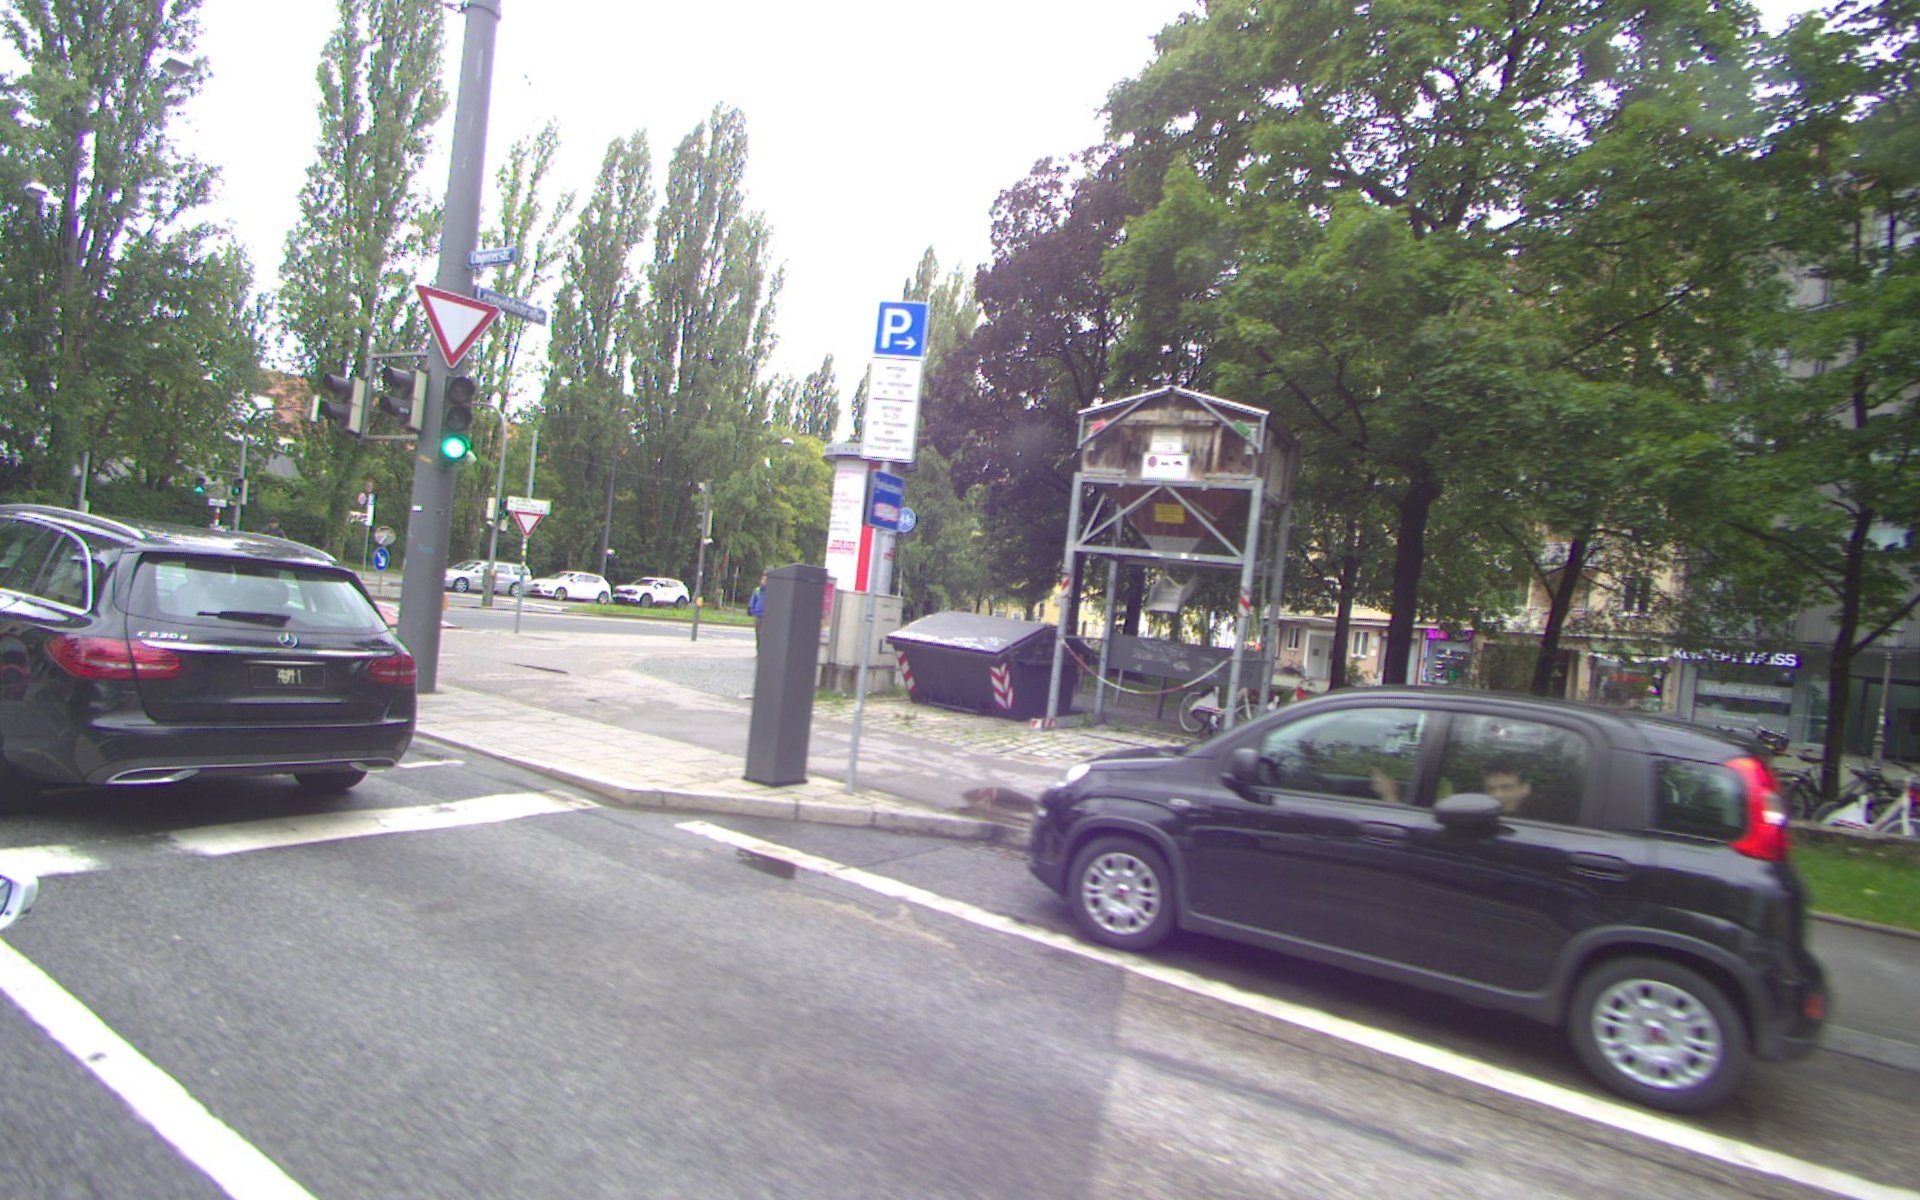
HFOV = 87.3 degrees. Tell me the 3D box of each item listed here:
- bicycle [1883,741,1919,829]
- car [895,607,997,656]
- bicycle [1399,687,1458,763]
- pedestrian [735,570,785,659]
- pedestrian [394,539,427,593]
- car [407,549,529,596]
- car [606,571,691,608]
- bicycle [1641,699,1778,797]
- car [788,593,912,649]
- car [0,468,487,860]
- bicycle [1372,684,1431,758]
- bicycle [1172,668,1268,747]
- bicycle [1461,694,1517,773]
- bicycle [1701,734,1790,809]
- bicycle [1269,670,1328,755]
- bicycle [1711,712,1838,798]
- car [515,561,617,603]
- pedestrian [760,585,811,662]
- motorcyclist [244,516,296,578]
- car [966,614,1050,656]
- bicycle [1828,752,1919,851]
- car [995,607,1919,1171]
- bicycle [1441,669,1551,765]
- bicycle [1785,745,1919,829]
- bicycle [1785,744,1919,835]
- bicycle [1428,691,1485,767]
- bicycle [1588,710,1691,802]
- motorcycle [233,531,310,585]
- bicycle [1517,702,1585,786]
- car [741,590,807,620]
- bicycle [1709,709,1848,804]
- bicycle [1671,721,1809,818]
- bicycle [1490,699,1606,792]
[{"bbox_3d":[10.600,2.028,10.587,0.308,0.904,1.412,7,-2,-5],"label":"bicycle"},{"bbox_3d":[-0.432,1.169,36.042,1.701,1.424,4.371,6,-1,27],"label":"car"},{"bbox_3d":[6.132,1.639,13.135,0.308,0.904,1.408,6,-3,38],"label":"bicycle"},{"bbox_3d":[-3.922,0.281,19.725,0.536,1.684,0.718,6,4,31],"label":"pedestrian"},{"bbox_3d":[-18.167,-1.117,33.254,0.692,1.682,0.550,7,-1,-18],"label":"pedestrian"},{"bbox_3d":[-20.995,-1.130,43.116,1.756,1.504,4.345,6,-1,30],"label":"car"},{"bbox_3d":[-16.227,-0.516,52.619,1.755,1.504,4.135,6,-1,27],"label":"car"},{"bbox_3d":[13.844,2.697,18.693,0.619,1.374,2.468,7,1,2],"label":"bicycle"},{"bbox_3d":[-3.218,0.674,30.244,1.701,1.332,3.996,6,-1,27],"label":"car"},{"bbox_3d":[-5.174,0.147,6.070,4.626,1.567,1.867,6,-2,32],"label":"car"},{"bbox_3d":[5.868,1.616,13.339,0.308,0.904,1.408,6,-3,38],"label":"bicycle"},{"bbox_3d":[3.678,1.508,14.337,0.310,0.904,1.400,7,-1,-32],"label":"bicycle"},{"bbox_3d":[6.685,1.687,12.697,0.308,0.904,1.408,6,-3,38],"label":"bicycle"},{"bbox_3d":[10.785,2.361,13.808,1.395,0.904,0.311,8,-2,-25],"label":"bicycle"},{"bbox_3d":[4.781,1.558,14.132,0.619,1.028,2.241,6,-3,21],"label":"bicycle"},{"bbox_3d":[17.281,3.254,21.450,0.619,1.374,2.468,7,1,2],"label":"bicycle"},{"bbox_3d":[-18.667,-0.845,47.872,1.756,1.504,4.252,6,-1,30],"label":"car"},{"bbox_3d":[-3.387,0.465,19.508,0.536,1.422,0.719,6,2,31],"label":"pedestrian"},{"bbox_3d":[-17.678,-1.358,25.766,0.866,1.459,0.620,6,-2,28],"label":"motorcyclist"},{"bbox_3d":[2.047,1.471,41.269,1.701,1.424,4.371,6,-1,27],"label":"car"},{"bbox_3d":[9.938,2.135,10.526,0.308,0.904,1.412,7,-2,-5],"label":"bicycle"},{"bbox_3d":[2.625,1.089,4.947,4.480,1.568,1.832,6,0,33],"label":"car"},{"bbox_3d":[9.446,2.015,17.856,0.619,1.374,2.469,7,0,4],"label":"bicycle"},{"bbox_3d":[12.282,2.547,13.817,1.391,0.904,0.312,5,-2,38],"label":"bicycle"},{"bbox_3d":[11.305,2.370,12.622,1.391,0.904,0.312,5,-2,38],"label":"bicycle"},{"bbox_3d":[6.394,1.662,12.925,0.308,0.904,1.408,6,-3,38],"label":"bicycle"},{"bbox_3d":[8.161,1.843,12.130,0.307,0.904,1.413,6,-1,6],"label":"bicycle"},{"bbox_3d":[-17.562,-1.076,25.662,1.994,1.183,0.630,6,-2,27],"label":"motorcycle"},{"bbox_3d":[7.176,1.726,12.252,0.307,0.904,1.414,6,-2,17],"label":"bicycle"},{"bbox_3d":[-11.504,0.332,62.545,1.755,1.504,4.135,6,-1,27],"label":"car"},{"bbox_3d":[15.894,2.996,19.642,0.619,1.374,2.468,7,1,2],"label":"bicycle"},{"bbox_3d":[8.971,1.922,11.628,0.308,0.904,1.412,7,-2,-5],"label":"bicycle"},{"bbox_3d":[10.471,2.543,18.026,0.619,1.372,2.472,7,-2,4],"label":"bicycle"}]
